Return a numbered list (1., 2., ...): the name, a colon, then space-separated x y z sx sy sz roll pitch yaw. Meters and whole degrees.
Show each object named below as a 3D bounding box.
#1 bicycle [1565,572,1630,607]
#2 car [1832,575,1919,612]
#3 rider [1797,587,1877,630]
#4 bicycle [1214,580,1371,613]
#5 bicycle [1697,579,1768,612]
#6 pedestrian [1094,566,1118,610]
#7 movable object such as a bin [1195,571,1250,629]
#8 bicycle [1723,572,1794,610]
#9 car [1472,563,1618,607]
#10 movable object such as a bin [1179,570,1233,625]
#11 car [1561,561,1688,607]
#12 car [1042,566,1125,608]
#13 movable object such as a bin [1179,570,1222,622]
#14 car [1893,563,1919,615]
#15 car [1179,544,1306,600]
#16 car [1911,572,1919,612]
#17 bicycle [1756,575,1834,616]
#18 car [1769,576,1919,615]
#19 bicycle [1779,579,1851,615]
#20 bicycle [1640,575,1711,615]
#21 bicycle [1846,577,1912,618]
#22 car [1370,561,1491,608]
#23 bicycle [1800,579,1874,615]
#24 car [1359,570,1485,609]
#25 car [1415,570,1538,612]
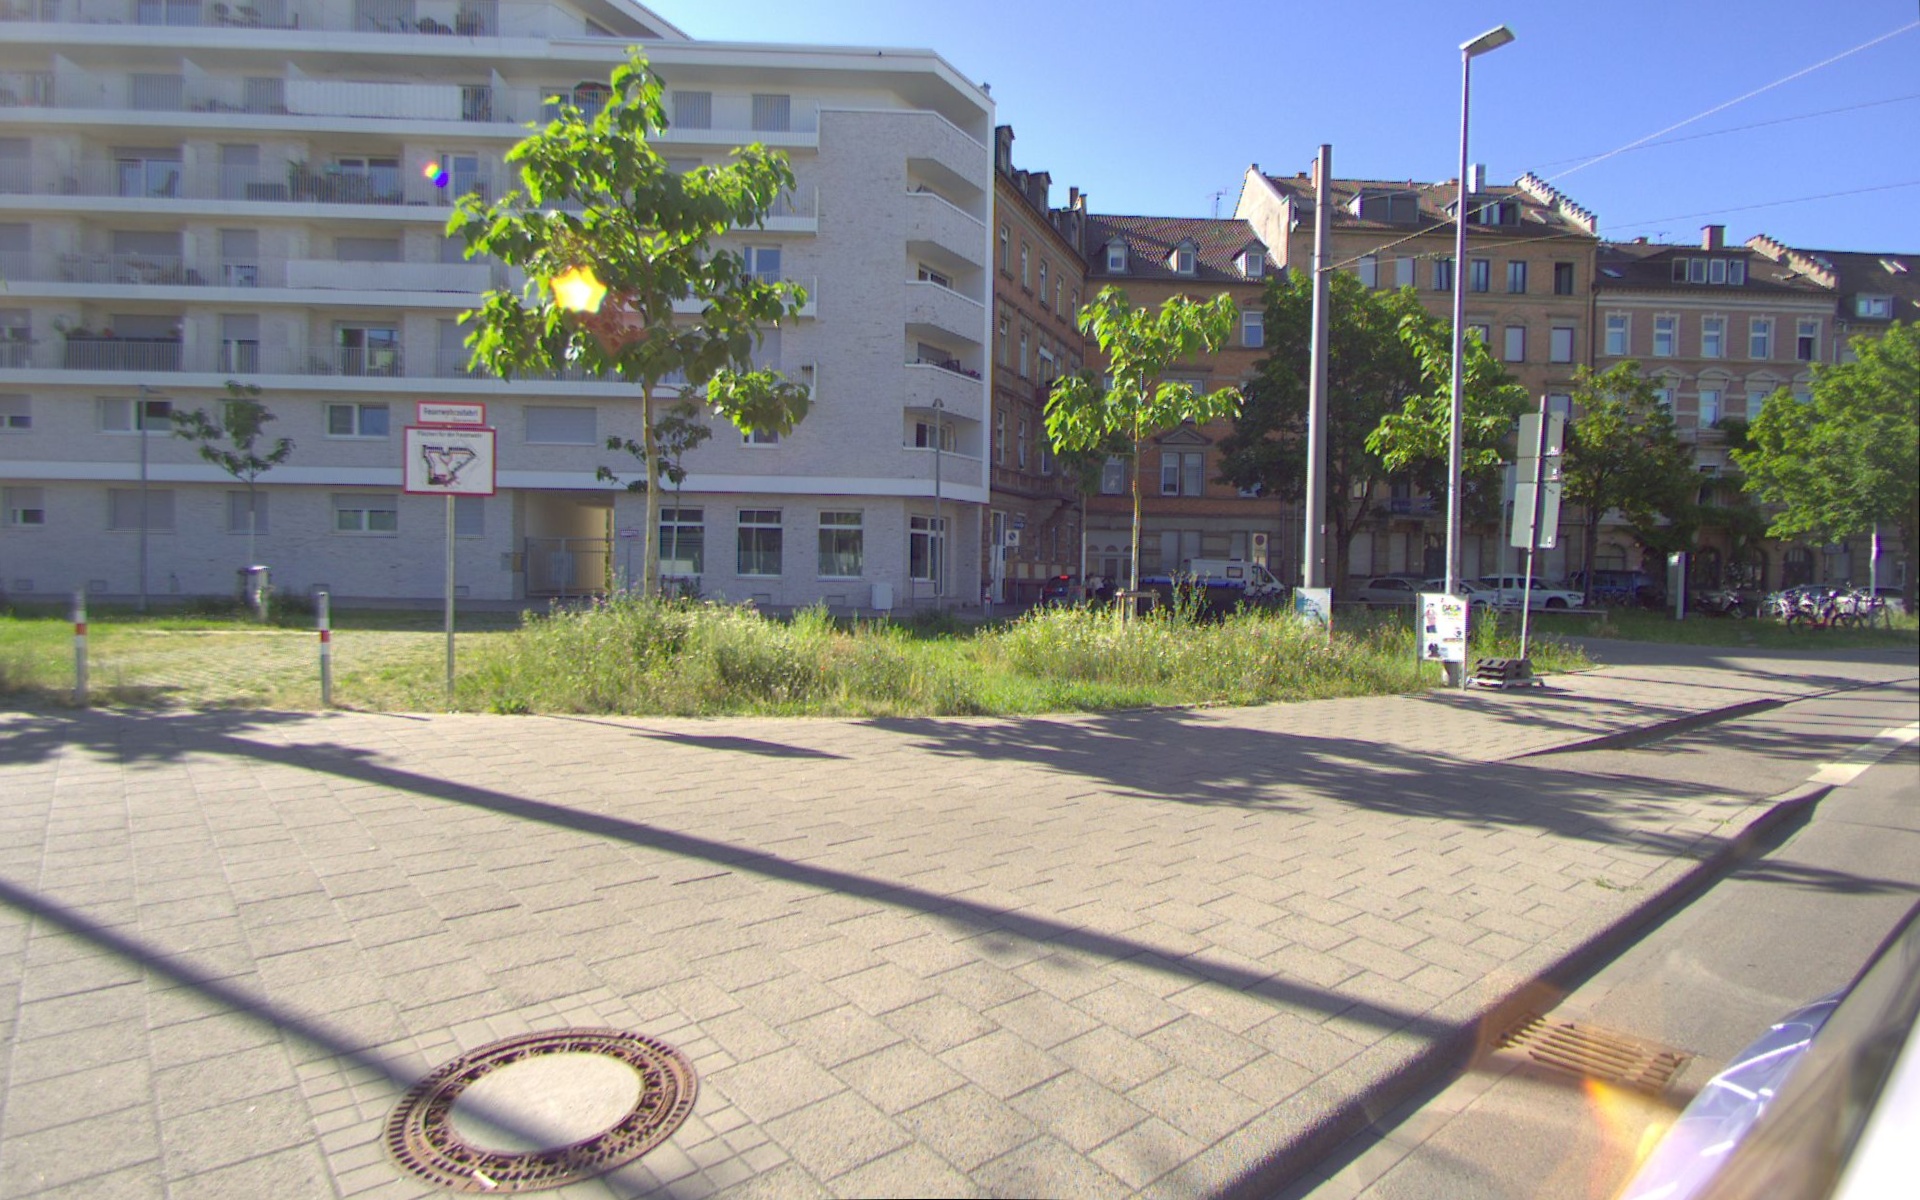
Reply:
1. bicycle: 25.883 -0.447 41.121 0.774 1.382 2.096 0 2 -42
2. car: 37.505 -0.256 40.501 1.889 1.397 3.615 0 2 -35
3. rider: 24.992 0.232 28.862 1.652 1.191 0.501 -1 0 15
4. bicycle: 12.918 -0.156 39.548 5.116 1.141 2.687 1 1 -7
5. bicycle: 28.587 -0.185 37.507 0.806 1.173 2.172 1 1 -6
6. pedestrian: 5.362 -0.444 37.205 0.756 1.596 0.643 0 1 -2
7. movable object such as a bin: 6.695 -0.021 25.768 1.286 1.416 1.066 1 1 18
8. bicycle: 29.524 -0.346 37.467 0.771 1.382 2.103 1 1 -8
9. car: 22.410 -0.592 38.920 1.900 1.585 4.473 0 2 -33
10. movable object such as a bin: 6.554 -0.076 26.979 1.303 1.416 1.105 1 1 18
11. car: 31.377 -0.786 47.872 4.631 2.001 2.002 1 3 -3
12. car: 4.666 -0.504 37.839 1.979 1.454 4.074 1 1 24
13. movable object such as a bin: 6.711 -0.125 28.221 1.076 1.416 1.026 1 1 18
14. car: 40.629 -0.361 40.198 2.061 2.037 4.882 -1 4 -36
15. car: 13.002 -1.314 46.850 5.087 2.385 2.359 2 3 -1
16. car: 43.017 -0.216 41.890 2.059 1.667 4.887 -1 4 -31
17. bicycle: 29.105 -0.178 35.305 0.771 1.382 2.103 0 1 -8
18. car: 34.892 -0.196 39.557 2.007 1.397 4.753 0 2 -35
19. bicycle: 31.042 -0.137 36.795 0.825 1.206 1.966 1 3 -3
20. bicycle: 26.261 -0.212 37.190 0.771 1.416 2.104 0 1 -13
21. bicycle: 31.681 -0.103 34.914 1.589 1.306 0.760 3 3 38
22. car: 22.075 -0.753 47.592 4.632 2.001 2.002 1 3 -2
23. bicycle: 31.944 -0.131 36.892 0.882 1.195 1.953 0 3 -3
24. car: 17.360 -0.424 38.212 1.802 1.354 4.063 0 2 -27
25. car: 19.648 -0.371 38.642 1.726 1.459 3.846 0 2 -33
